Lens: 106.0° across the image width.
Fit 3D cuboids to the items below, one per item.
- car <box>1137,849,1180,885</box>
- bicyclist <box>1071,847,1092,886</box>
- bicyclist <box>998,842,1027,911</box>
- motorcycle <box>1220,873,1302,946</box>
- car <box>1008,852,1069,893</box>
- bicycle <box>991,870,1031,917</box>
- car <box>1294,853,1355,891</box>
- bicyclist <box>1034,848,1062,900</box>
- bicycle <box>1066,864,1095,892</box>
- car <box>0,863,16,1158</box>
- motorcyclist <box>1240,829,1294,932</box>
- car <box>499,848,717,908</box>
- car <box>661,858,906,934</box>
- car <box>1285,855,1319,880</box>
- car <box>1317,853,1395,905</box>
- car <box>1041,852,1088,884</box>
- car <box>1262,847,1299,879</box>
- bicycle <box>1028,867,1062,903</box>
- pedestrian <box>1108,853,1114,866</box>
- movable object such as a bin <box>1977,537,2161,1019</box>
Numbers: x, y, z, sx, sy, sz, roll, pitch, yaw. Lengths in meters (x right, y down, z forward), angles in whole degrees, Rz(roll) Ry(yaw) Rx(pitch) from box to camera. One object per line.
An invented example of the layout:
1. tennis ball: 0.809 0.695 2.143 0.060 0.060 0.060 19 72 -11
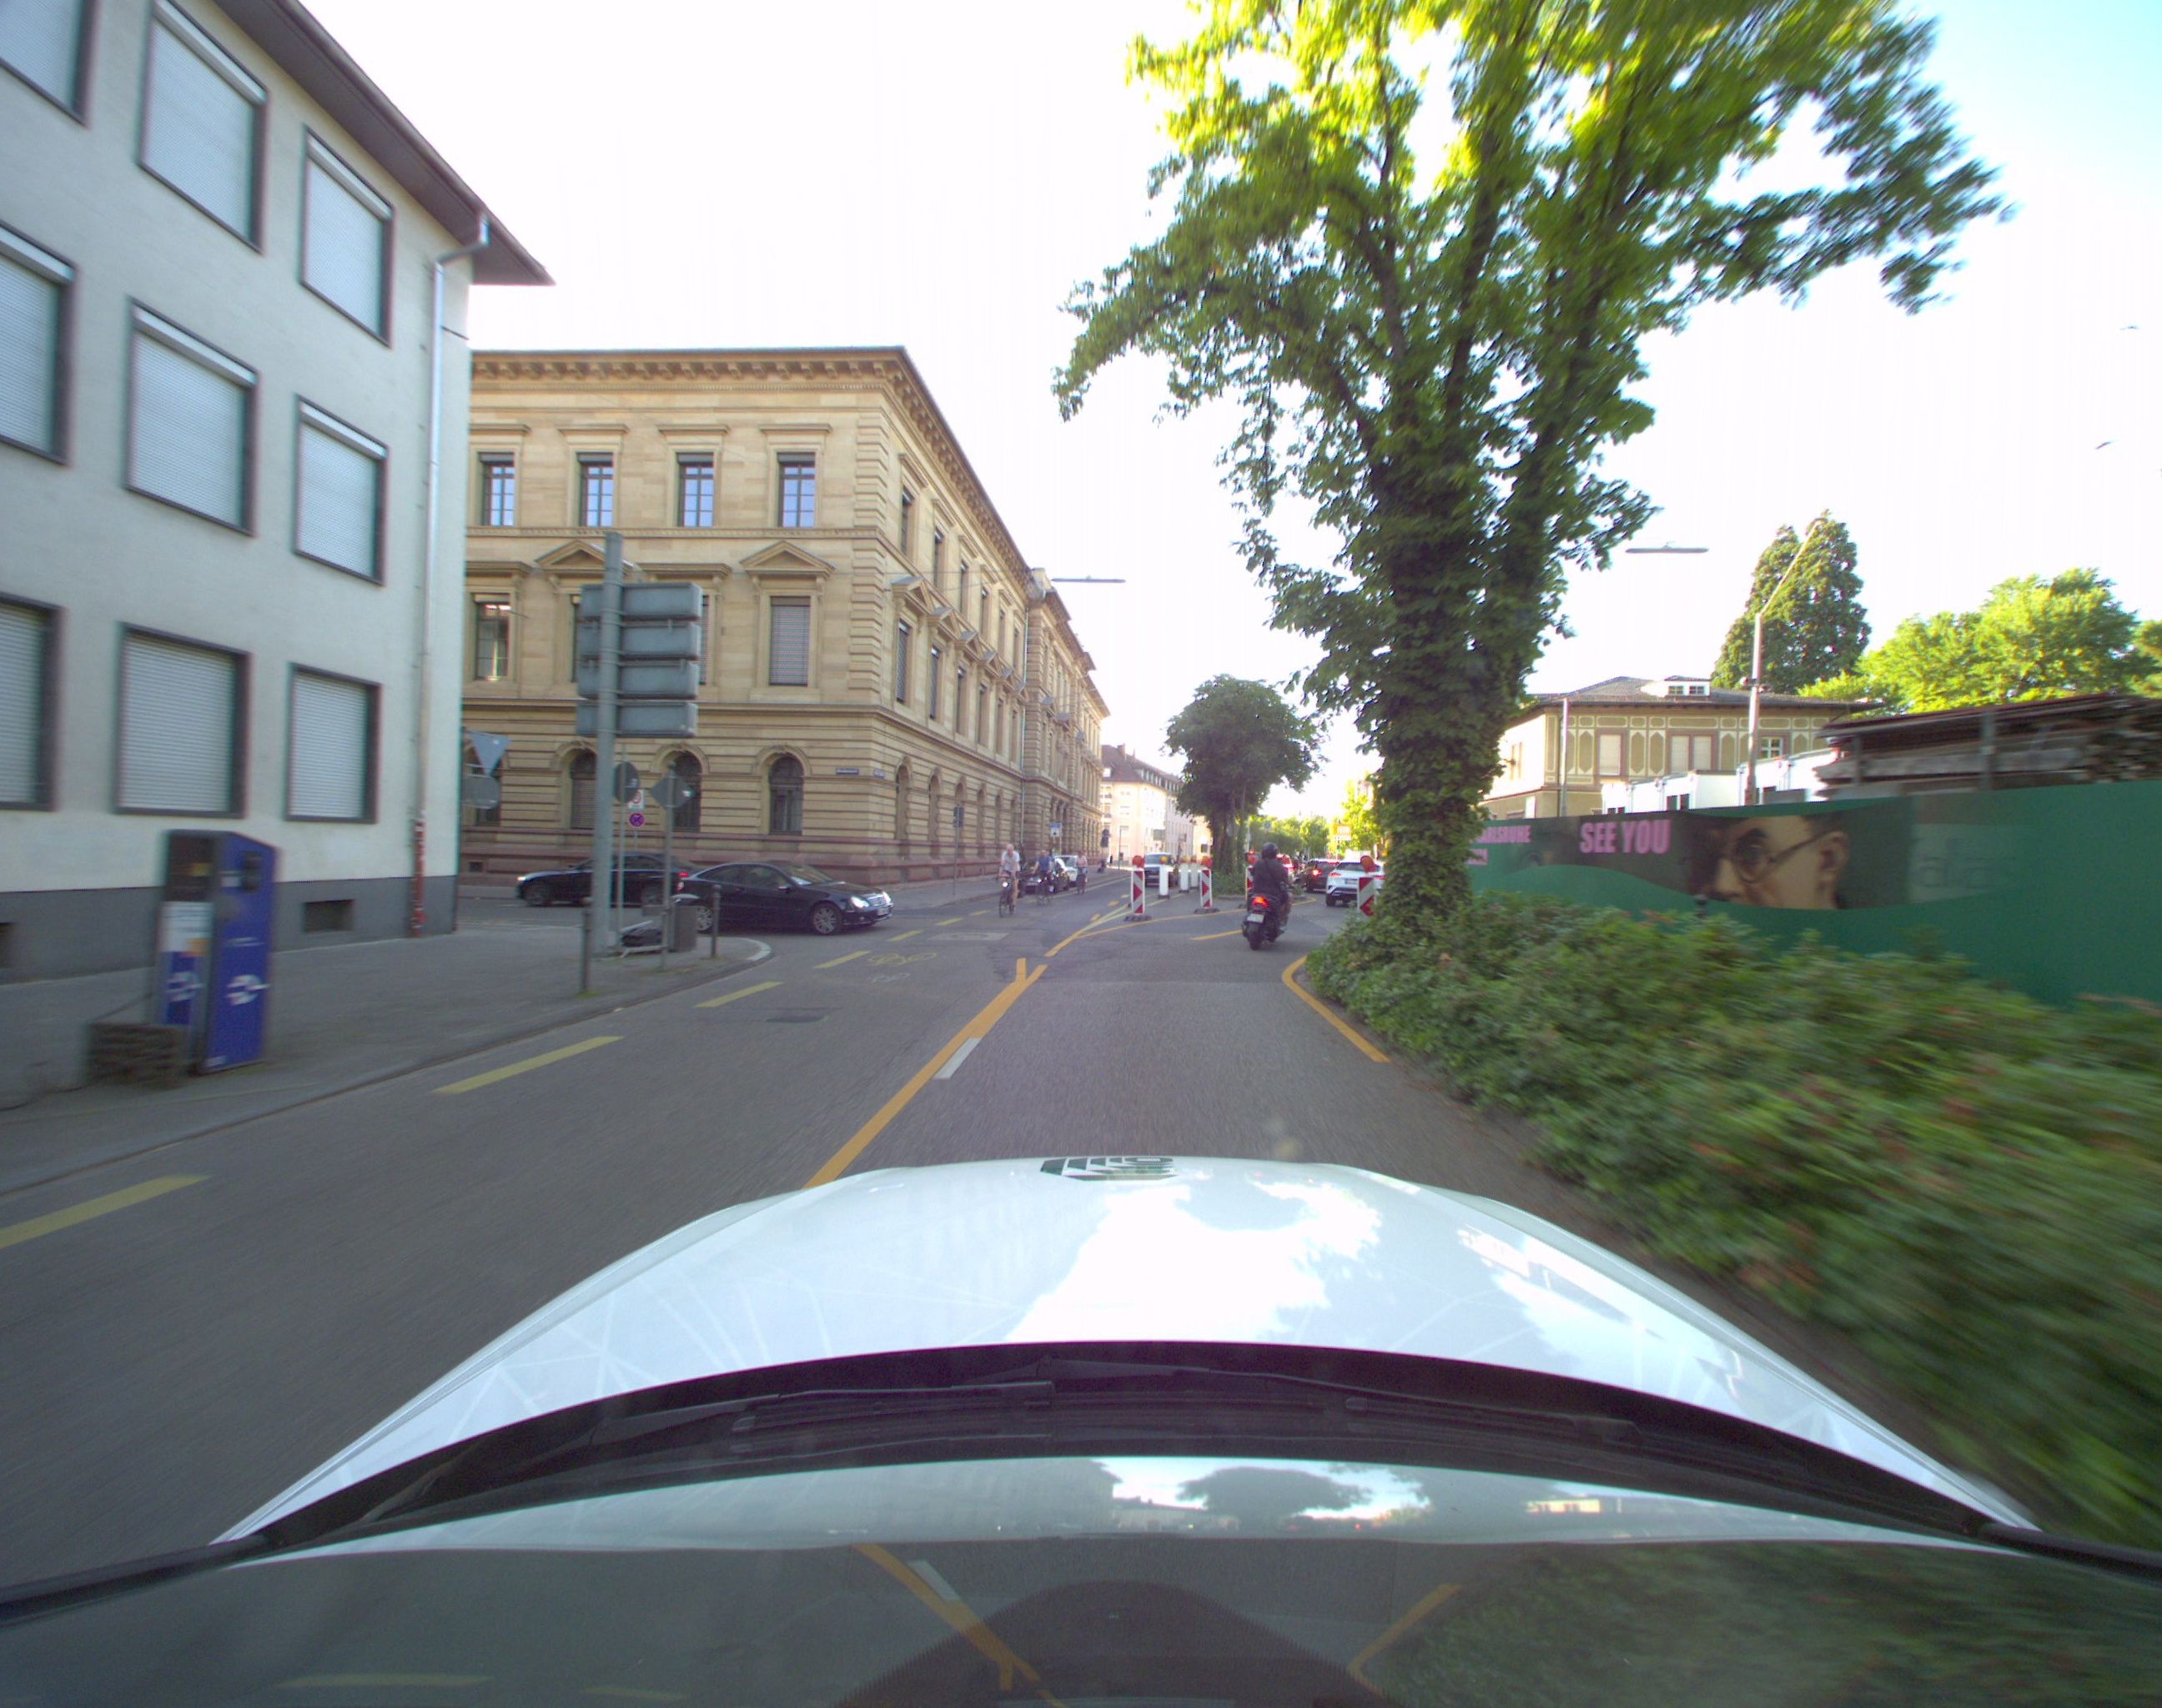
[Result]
1. car: 3.785 0.603 40.346 1.984 1.695 4.404 0 0 4
2. bicyclist: 0.036 0.513 33.257 0.623 1.554 0.736 0 0 20
3. bicyclist: -1.683 0.531 20.131 0.563 1.666 0.836 0 0 6
4. motorcycle: 2.970 0.865 13.316 0.789 1.066 1.736 2 0 30
5. car: -1.688 0.711 33.577 1.984 1.567 4.294 0 0 4
6. bicycle: -1.703 0.945 20.040 0.580 1.035 2.132 0 0 6
7. car: 10.563 0.741 35.605 1.830 1.463 4.065 2 0 7
8. bicyclist: -1.042 0.606 25.780 0.623 1.613 0.873 0 0 14
9. bicycle: 0.000 0.966 33.304 0.528 1.035 2.046 0 0 20
10. car: -6.399 0.777 1.777 1.818 1.503 4.759 2 0 0
11. motorcyclist: 3.085 0.423 13.493 0.651 1.650 0.655 2 0 32
12. car: -11.895 0.576 20.724 4.444 1.461 1.774 0 0 -3
13. car: -5.924 0.798 16.442 4.288 1.390 1.780 0 0 9
14. car: 16.124 0.968 59.619 1.830 1.699 4.066 2 0 7
15. car: 8.769 0.733 25.763 1.834 1.480 4.081 -1 0 26
16. car: -0.758 0.655 40.871 1.984 1.528 4.189 0 0 4
17. car: 12.729 0.571 52.162 1.830 1.912 4.066 2 0 7
18. bicycle: -1.108 0.960 25.744 0.529 1.035 1.914 0 0 14
19. pedestrian: 3.454 0.612 92.977 0.662 1.553 0.650 0 0 4
20. movable object such as a bin: 11.712 -0.694 5.293 3.294 4.539 7.910 1 0 2
